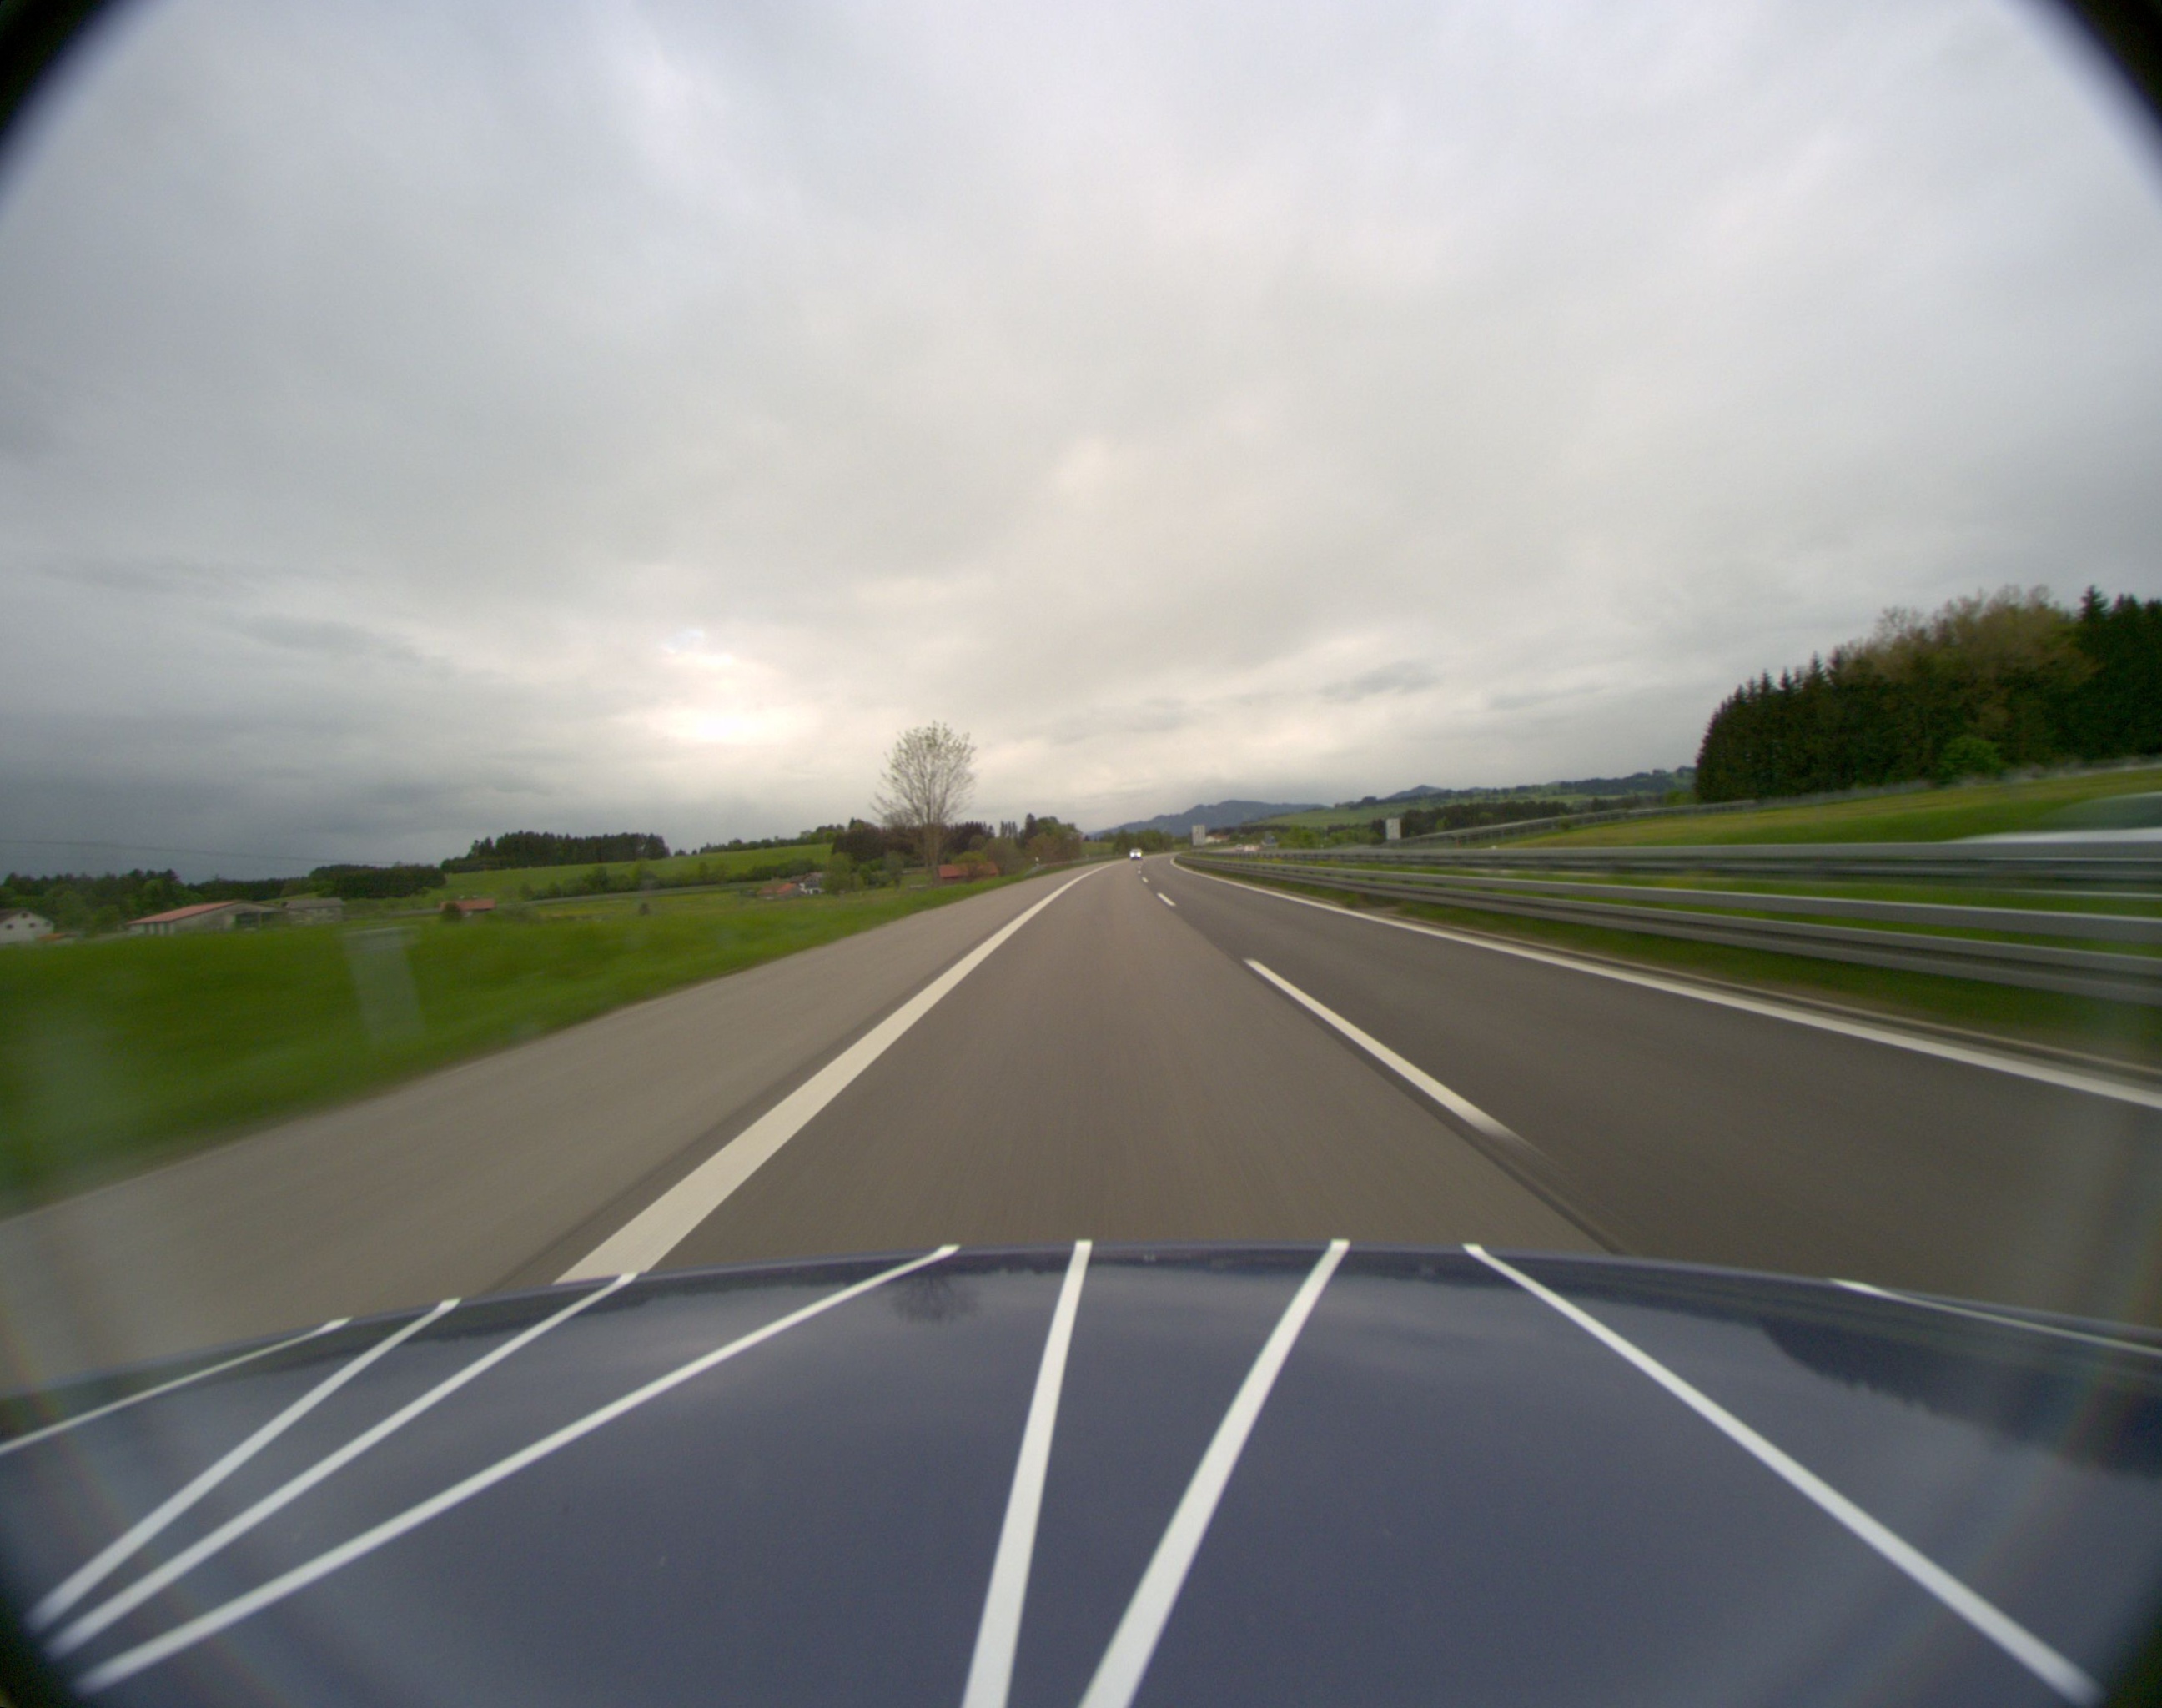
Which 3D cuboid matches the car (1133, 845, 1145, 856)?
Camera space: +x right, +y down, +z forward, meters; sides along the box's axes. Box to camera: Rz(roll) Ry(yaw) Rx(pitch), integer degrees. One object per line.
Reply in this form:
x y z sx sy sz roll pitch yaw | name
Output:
10.361 -0.654 135.793 2.020 1.899 4.222 -2 0 5 | car

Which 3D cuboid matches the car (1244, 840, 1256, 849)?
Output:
33.923 -1.938 152.755 2.039 1.680 5.058 -5 0 9 | car

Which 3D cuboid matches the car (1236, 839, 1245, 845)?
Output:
43.182 -3.256 205.985 1.997 1.676 4.630 -5 0 11 | car

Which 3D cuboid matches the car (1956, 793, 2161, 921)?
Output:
13.337 -0.026 8.461 1.998 1.420 4.463 -5 0 1 | car
